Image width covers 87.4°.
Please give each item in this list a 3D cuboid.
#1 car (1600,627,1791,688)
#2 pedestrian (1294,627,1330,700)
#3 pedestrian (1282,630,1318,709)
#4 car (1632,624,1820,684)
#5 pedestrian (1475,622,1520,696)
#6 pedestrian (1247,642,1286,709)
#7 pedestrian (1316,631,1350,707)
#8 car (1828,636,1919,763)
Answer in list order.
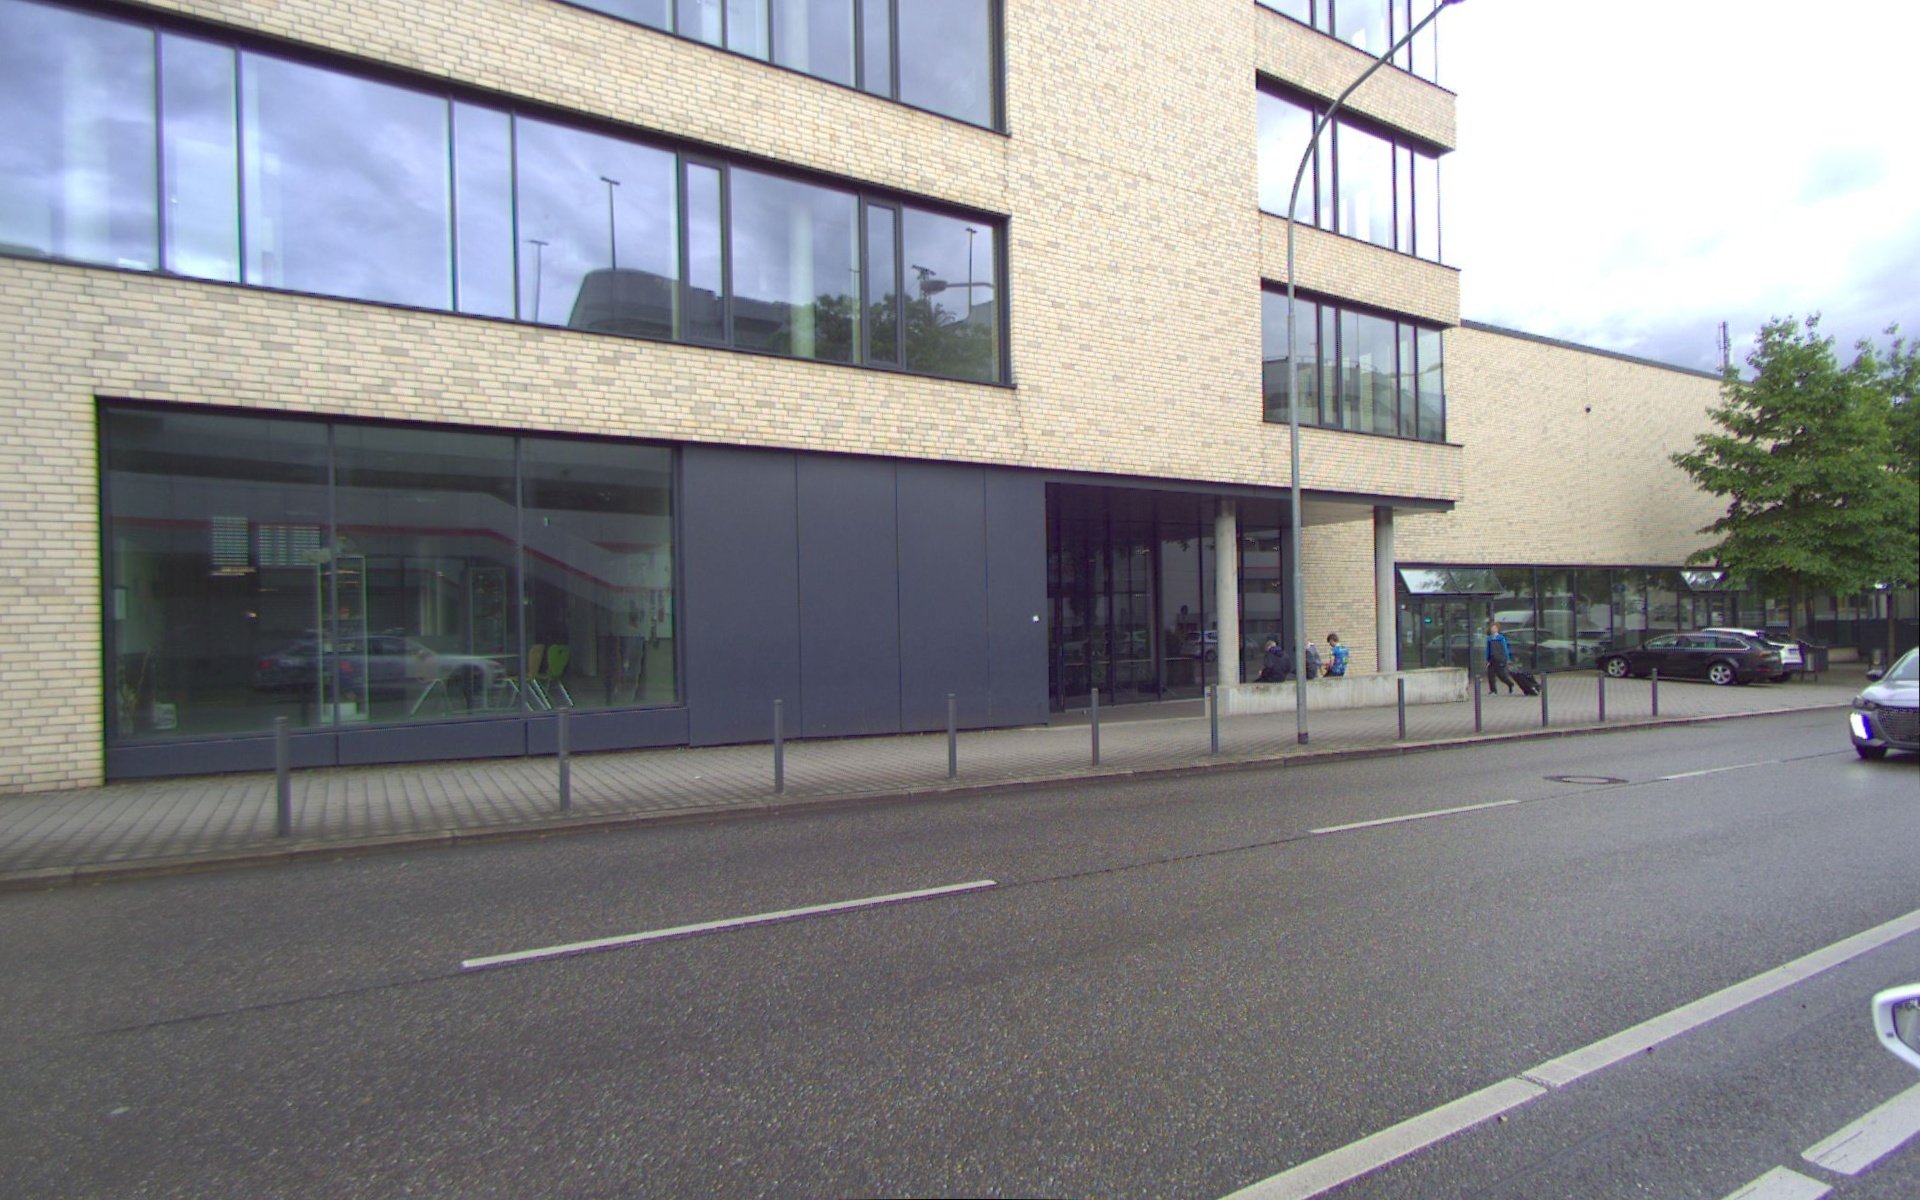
[{"bbox_3d":[21.601,1.637,29.650,1.981,1.515,4.147,2,0,-36],"label":"car"},{"bbox_3d":[7.366,1.322,21.021,0.523,1.495,0.438,2,0,-35],"label":"pedestrian"},{"bbox_3d":[6.599,1.339,19.512,0.459,1.495,0.446,2,0,-35],"label":"pedestrian"},{"bbox_3d":[23.478,1.610,30.958,1.975,1.568,4.159,2,0,-28],"label":"car"},{"bbox_3d":[12.959,1.404,24.215,0.696,1.737,0.632,2,0,-27],"label":"pedestrian"},{"bbox_3d":[5.810,1.424,19.025,0.416,1.231,0.546,2,0,-27],"label":"pedestrian"},{"bbox_3d":[7.537,1.384,20.299,0.459,1.495,0.446,2,0,-35],"label":"pedestrian"},{"bbox_3d":[12.878,1.200,12.771,3.840,1.489,1.732,1,-3,-32],"label":"car"}]
